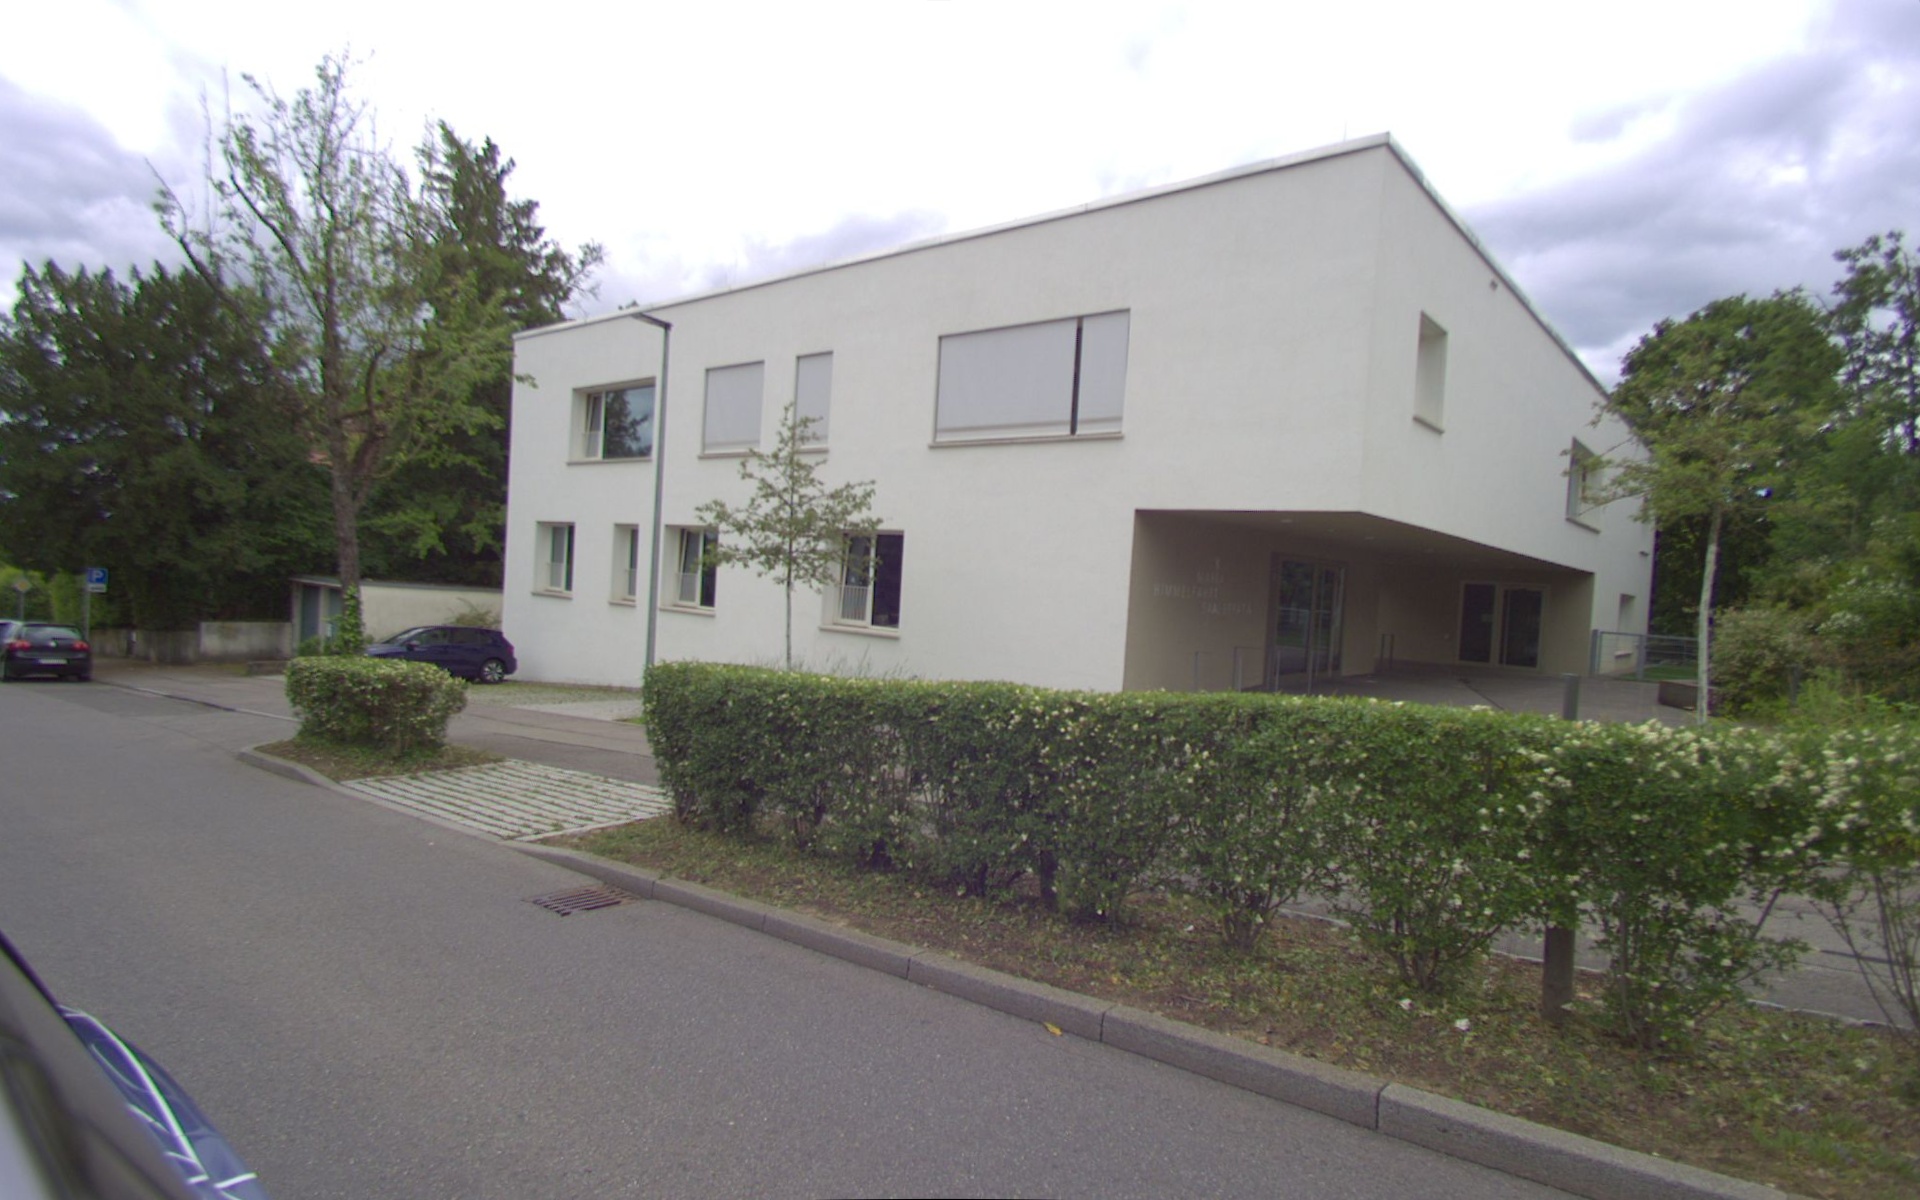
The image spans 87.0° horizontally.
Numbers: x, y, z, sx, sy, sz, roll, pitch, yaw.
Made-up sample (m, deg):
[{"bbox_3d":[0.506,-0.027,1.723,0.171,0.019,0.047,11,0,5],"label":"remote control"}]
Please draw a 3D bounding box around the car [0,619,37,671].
[{"bbox_3d":[-30.045,1.365,31.411,2.972,1.530,1.608,0,-2,39],"label":"car"}]

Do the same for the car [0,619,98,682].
[{"bbox_3d":[-24.133,1.263,26.256,4.678,1.481,1.832,-1,-3,39],"label":"car"}]

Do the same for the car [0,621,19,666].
[{"bbox_3d":[-32.999,1.451,34.098,1.724,1.459,3.516,5,-6,-44],"label":"car"}]

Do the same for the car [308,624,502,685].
[{"bbox_3d":[-13.342,1.271,24.488,1.740,1.364,3.756,-1,-2,40],"label":"car"}]
